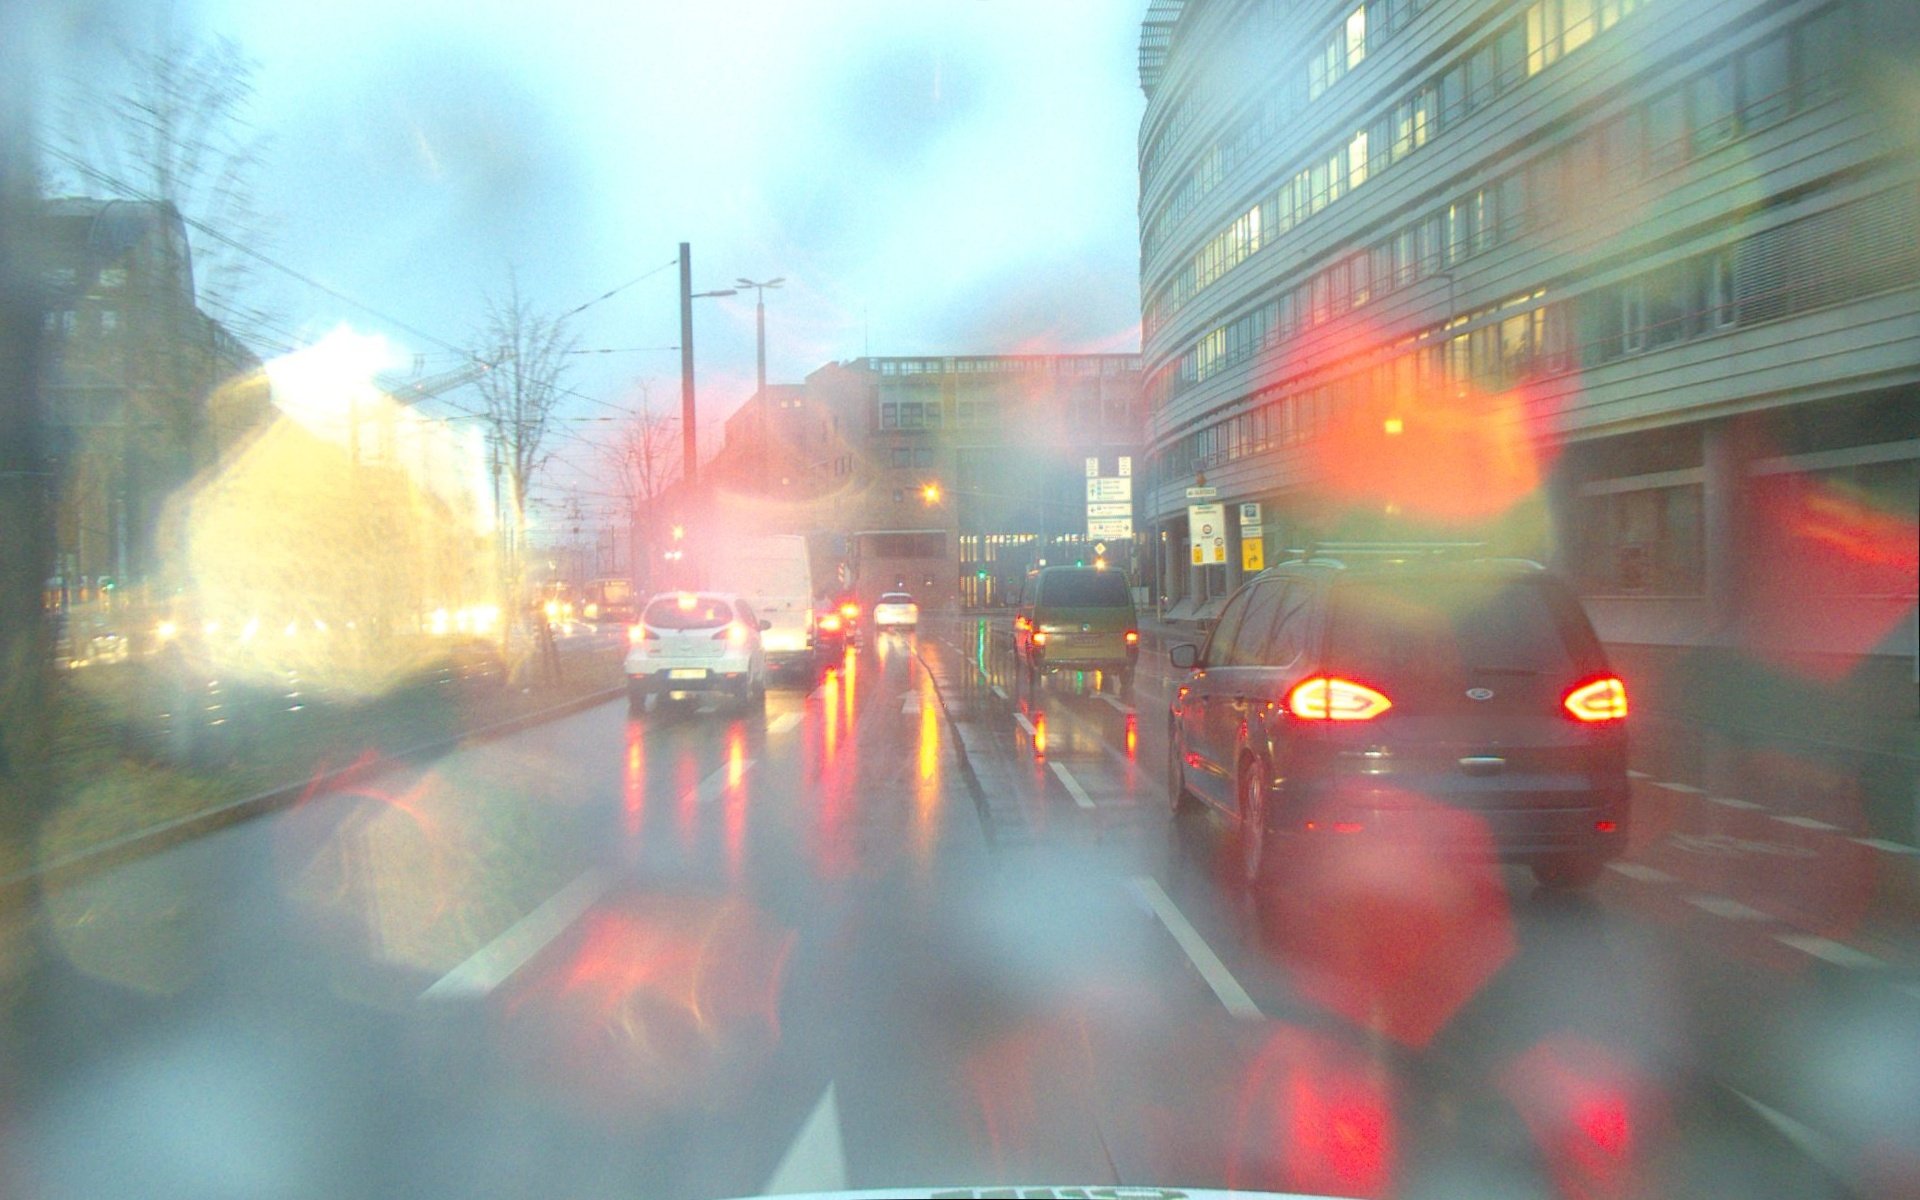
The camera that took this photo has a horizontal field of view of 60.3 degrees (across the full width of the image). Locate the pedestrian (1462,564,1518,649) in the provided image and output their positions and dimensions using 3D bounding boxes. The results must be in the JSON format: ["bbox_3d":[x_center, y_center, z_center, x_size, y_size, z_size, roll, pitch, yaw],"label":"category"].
[{"bbox_3d":[10.994,0.132,34.333,0.777,1.715,1.068,-1,0,-2],"label":"pedestrian"}]

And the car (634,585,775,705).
[{"bbox_3d":[-3.572,0.570,23.611,1.606,1.522,3.683,-1,1,-3],"label":"car"}]

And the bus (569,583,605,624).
[{"bbox_3d":[-32.831,0.293,145.559,2.776,3.431,7.968,-1,0,-15],"label":"bus"}]

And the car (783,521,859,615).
[{"bbox_3d":[-4.557,-0.987,54.513,2.309,2.876,6.352,-1,0,-5],"label":"car"}]

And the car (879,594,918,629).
[{"bbox_3d":[-2.487,0.441,67.320,1.481,1.328,3.040,-1,0,-1],"label":"car"}]

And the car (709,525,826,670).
[{"bbox_3d":[-3.656,-0.059,31.717,1.955,2.470,5.966,-1,0,-6],"label":"car"}]

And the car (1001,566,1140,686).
[{"bbox_3d":[1.791,0.396,28.213,1.807,1.837,4.484,-1,0,-3],"label":"car"}]

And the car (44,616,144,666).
[{"bbox_3d":[-27.989,1.289,53.584,1.603,1.475,4.407,-1,0,-11],"label":"car"}]

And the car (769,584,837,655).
[{"bbox_3d":[-3.644,0.441,38.481,1.488,1.547,3.466,-1,0,-5],"label":"car"}]

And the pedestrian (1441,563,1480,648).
[{"bbox_3d":[10.322,0.114,34.119,0.520,1.712,0.744,-1,0,-2],"label":"pedestrian"}]

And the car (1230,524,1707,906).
[{"bbox_3d":[2.738,0.532,9.843,1.639,1.811,4.000,0,0,0],"label":"car"}]

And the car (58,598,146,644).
[{"bbox_3d":[-33.288,0.785,64.277,1.599,1.721,3.620,-1,0,-2],"label":"car"}]

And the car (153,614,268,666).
[{"bbox_3d":[-22.758,1.184,50.389,1.694,1.417,4.197,-1,0,-2],"label":"car"}]

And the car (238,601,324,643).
[{"bbox_3d":[-25.729,0.798,62.785,1.956,1.475,4.307,-1,0,-8],"label":"car"}]

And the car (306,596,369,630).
[{"bbox_3d":[-28.151,0.560,74.901,1.599,1.475,3.620,-1,0,-2],"label":"car"}]

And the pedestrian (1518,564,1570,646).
[{"bbox_3d":[12.090,0.101,34.252,0.711,1.653,0.902,-1,0,-2],"label":"pedestrian"}]
